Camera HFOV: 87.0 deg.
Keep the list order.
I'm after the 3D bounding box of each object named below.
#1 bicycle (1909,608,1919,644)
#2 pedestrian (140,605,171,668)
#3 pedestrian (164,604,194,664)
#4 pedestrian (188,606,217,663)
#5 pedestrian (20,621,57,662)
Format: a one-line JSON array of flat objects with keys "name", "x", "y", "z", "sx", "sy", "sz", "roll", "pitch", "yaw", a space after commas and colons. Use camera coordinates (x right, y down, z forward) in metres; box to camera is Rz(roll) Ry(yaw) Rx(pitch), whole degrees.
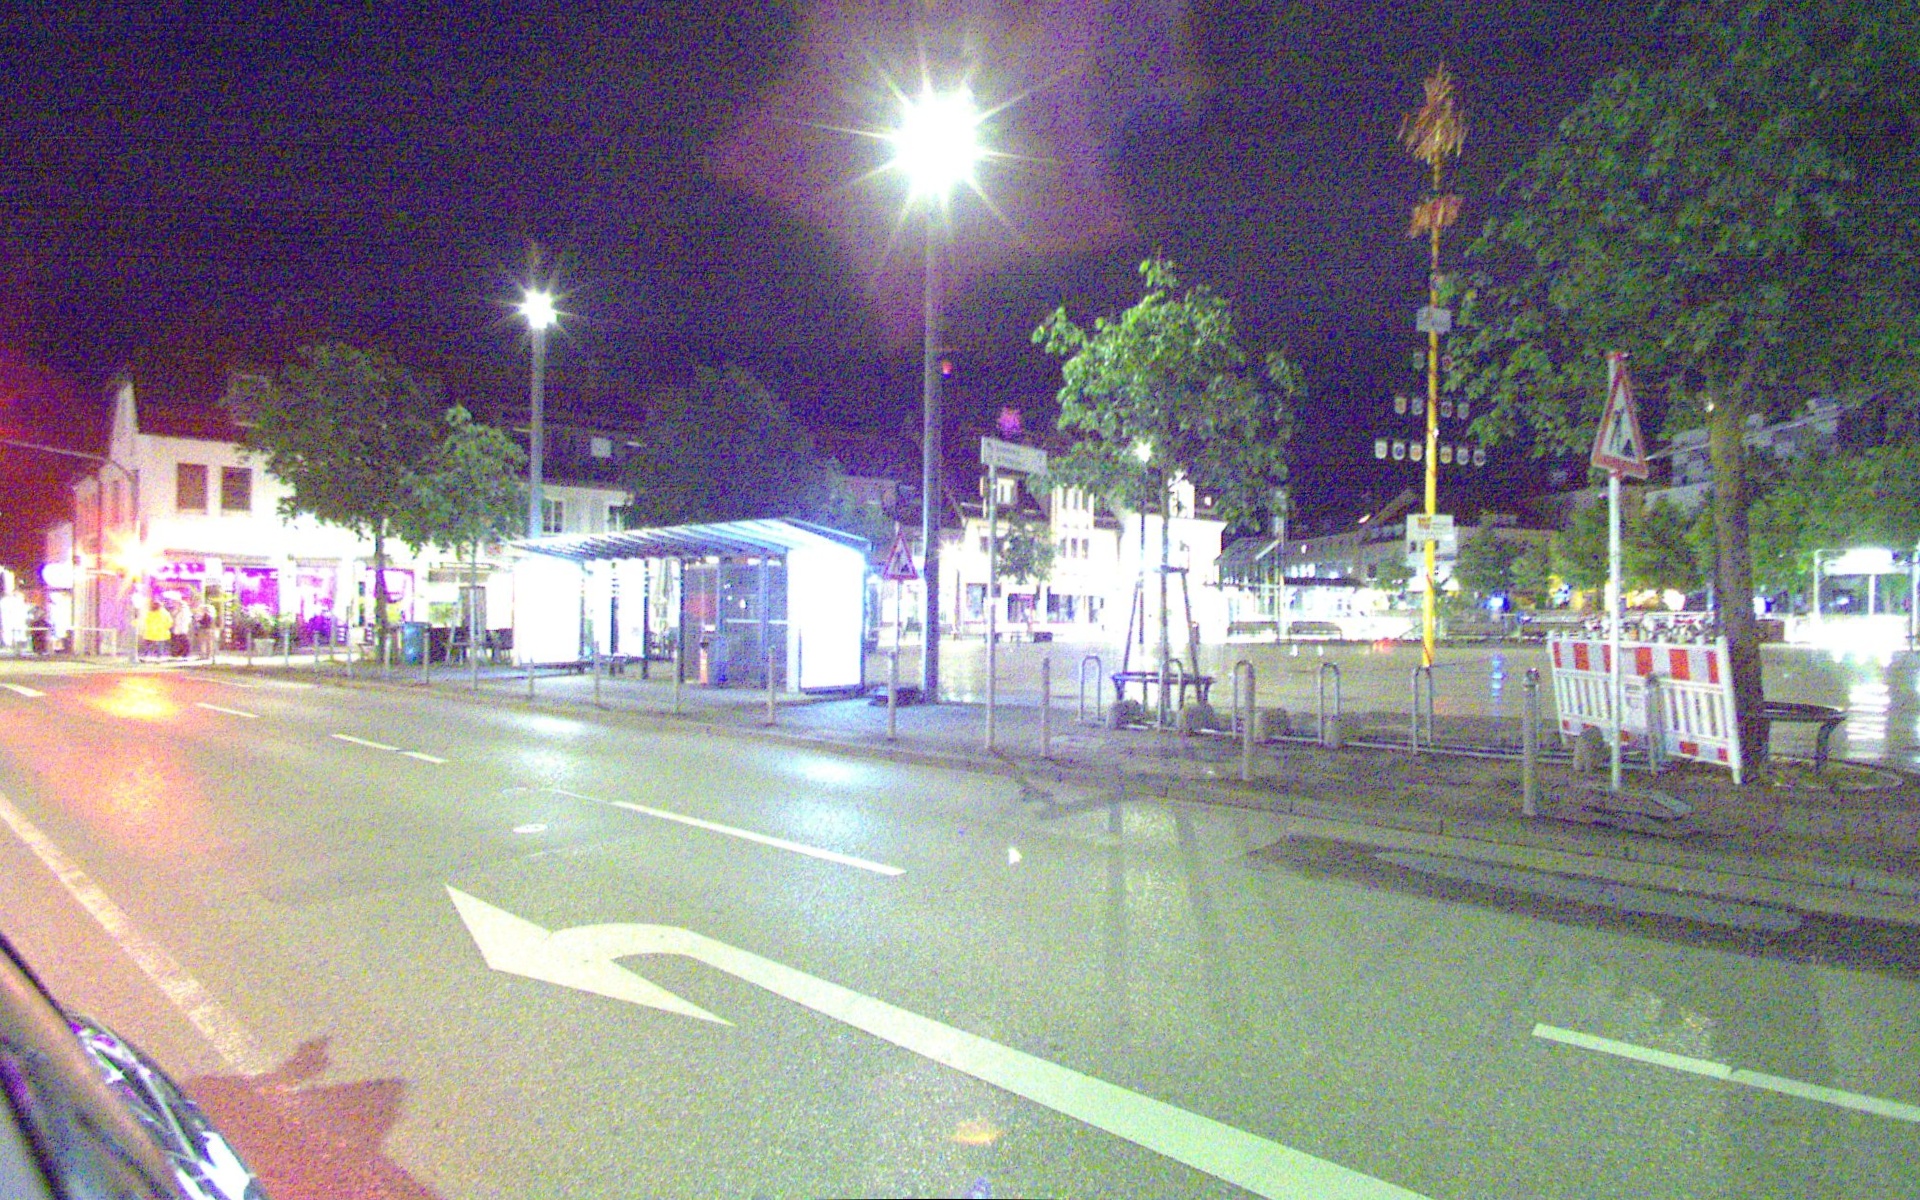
[{"name": "bicycle", "x": 26.413, "y": 0.697, "z": 26.976, "sx": 1.525, "sy": 0.965, "sz": 0.476, "roll": -1, "pitch": 0, "yaw": 25}, {"name": "pedestrian", "x": -22.080, "y": 0.983, "z": 27.776, "sx": 0.531, "sy": 1.694, "sz": 0.649, "roll": -1, "pitch": 0, "yaw": -27}, {"name": "pedestrian", "x": -22.681, "y": 0.975, "z": 29.397, "sx": 0.573, "sy": 1.694, "sz": 0.649, "roll": -1, "pitch": 0, "yaw": -28}, {"name": "pedestrian", "x": -22.183, "y": 1.011, "z": 29.647, "sx": 0.573, "sy": 1.640, "sz": 0.649, "roll": -1, "pitch": 0, "yaw": -27}, {"name": "pedestrian", "x": -34.740, "y": 1.555, "z": 38.154, "sx": 0.820, "sy": 1.507, "sz": 0.646, "roll": 0, "pitch": -2, "yaw": 9}]
